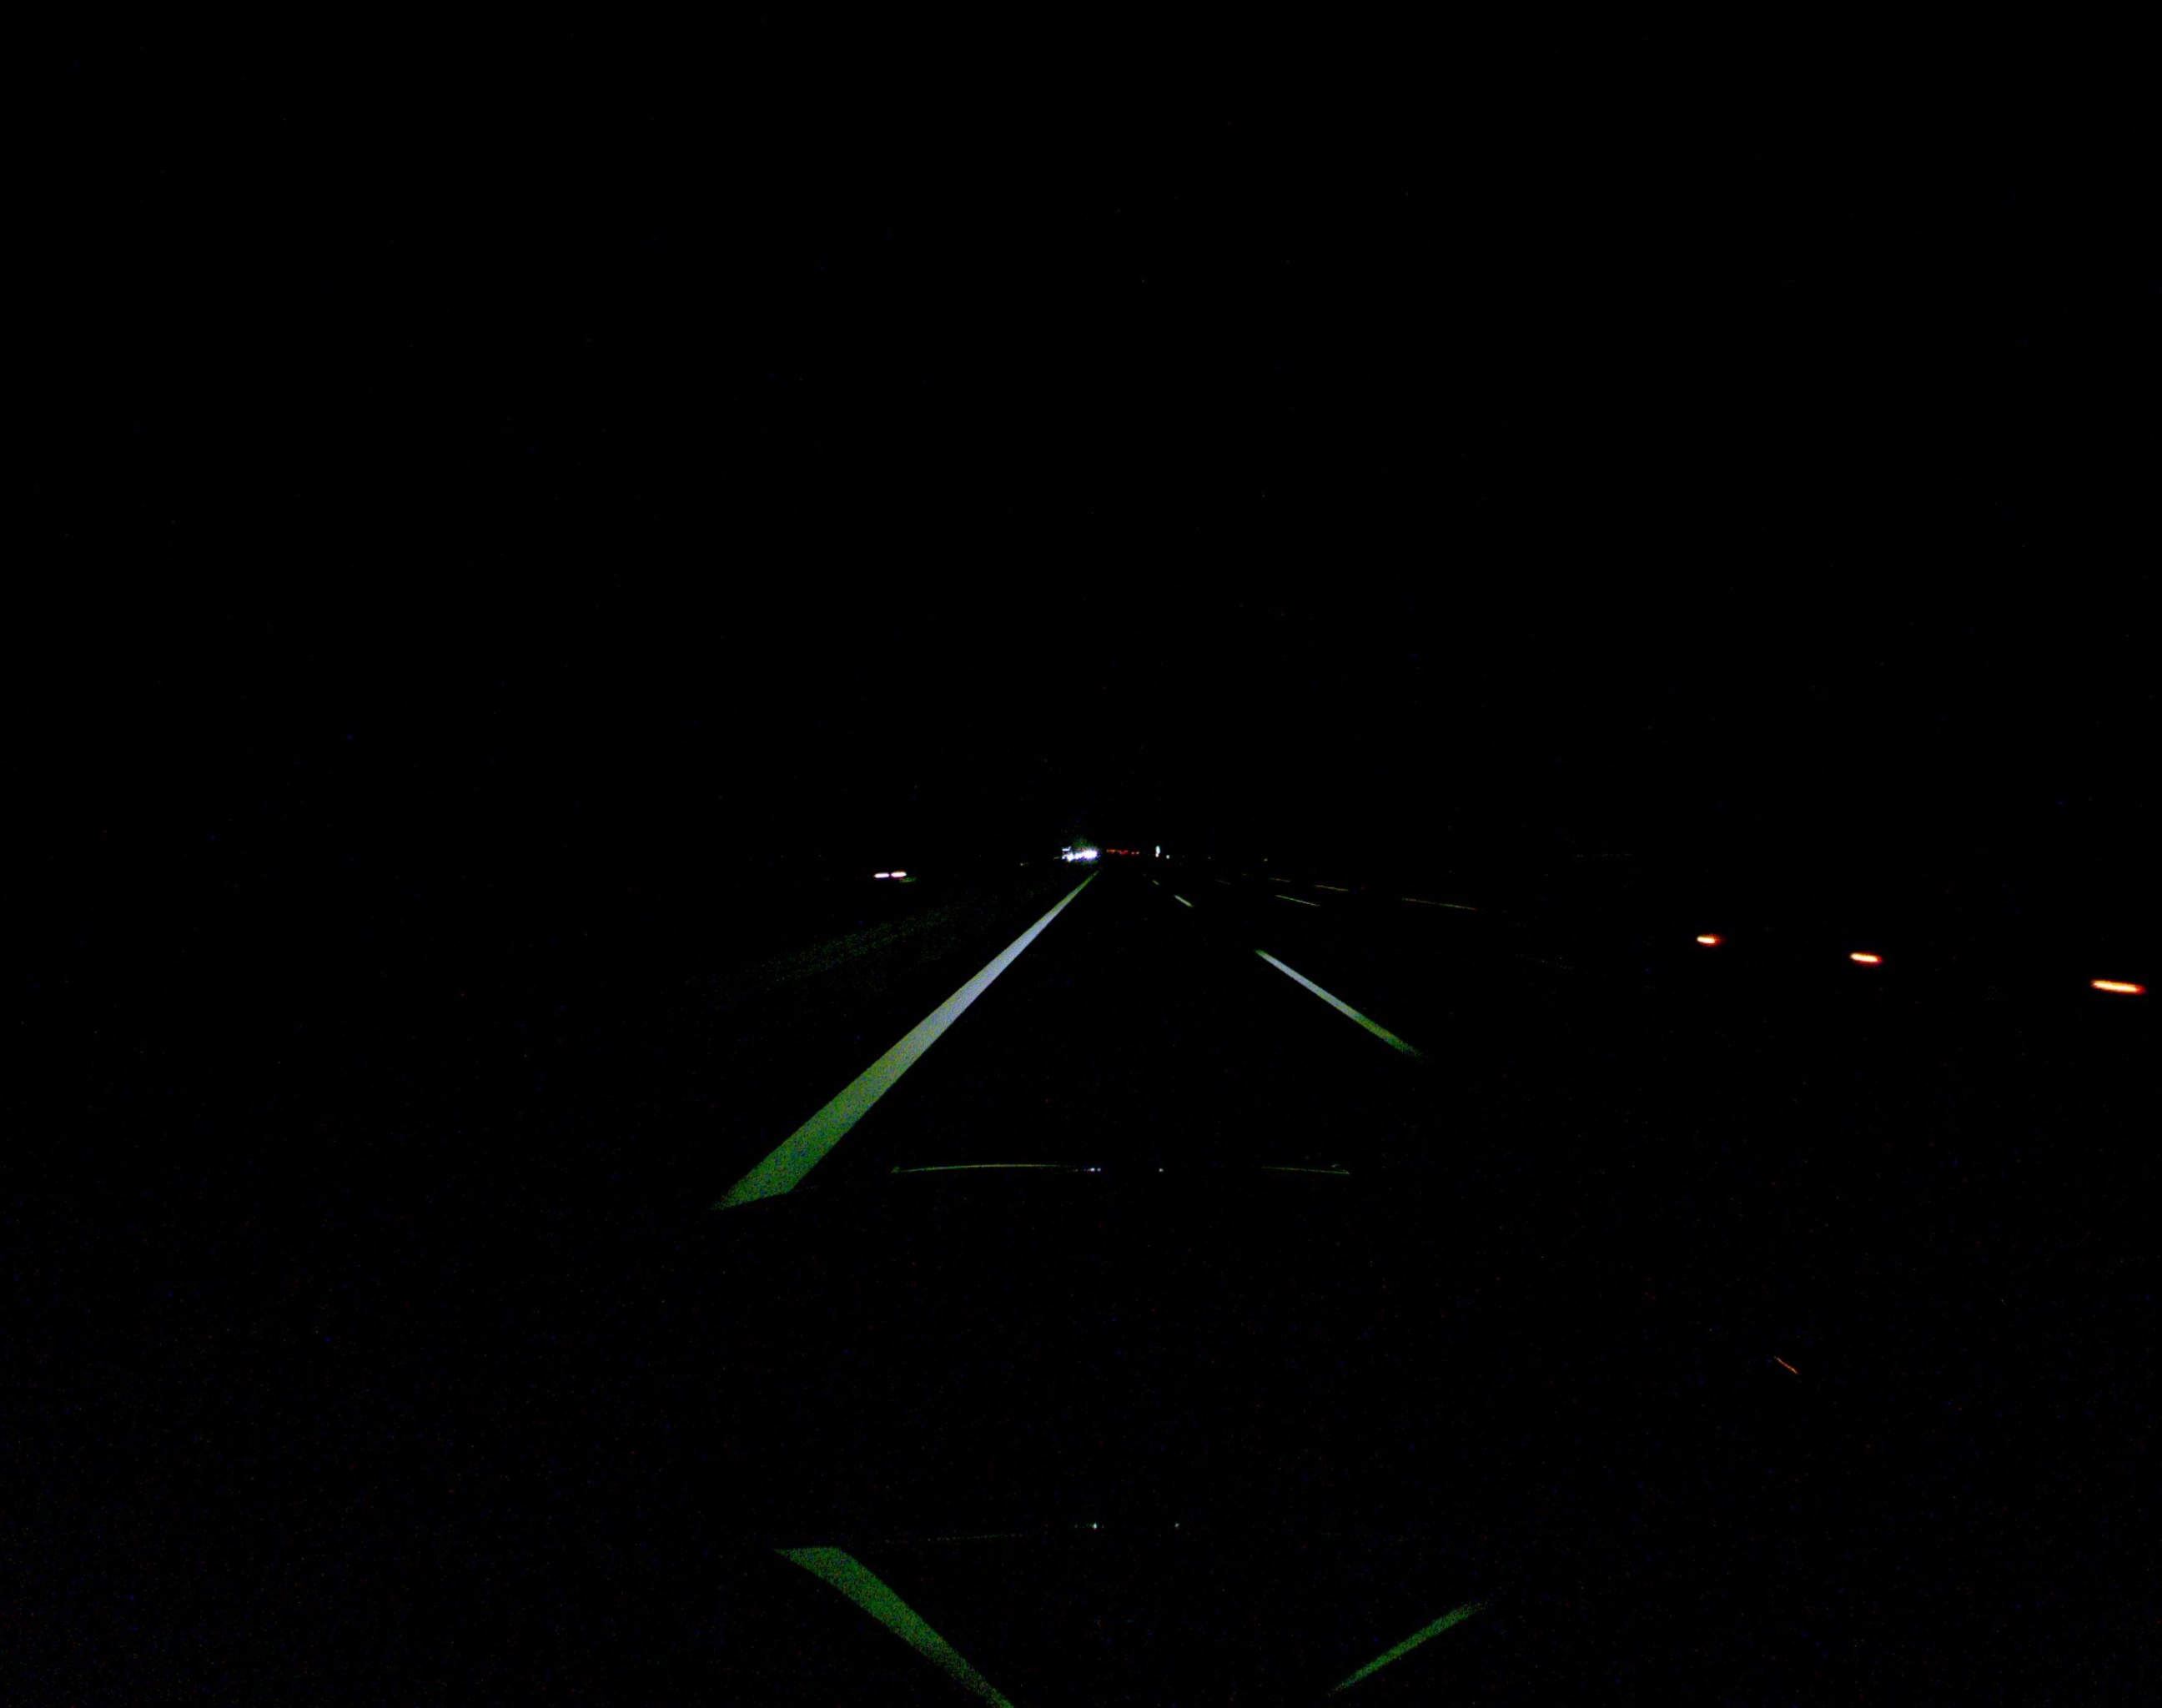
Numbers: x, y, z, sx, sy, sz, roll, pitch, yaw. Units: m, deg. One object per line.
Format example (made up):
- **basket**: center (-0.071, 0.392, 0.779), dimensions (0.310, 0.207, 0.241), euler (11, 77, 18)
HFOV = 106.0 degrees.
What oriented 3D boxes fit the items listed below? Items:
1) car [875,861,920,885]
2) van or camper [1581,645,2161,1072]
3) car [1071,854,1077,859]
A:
- **car**: center (-13.753, 1.416, 61.353), dimensions (1.986, 1.551, 5.007), euler (-4, 0, 2)
- **van or camper**: center (8.172, 0.009, 8.206), dimensions (2.199, 2.771, 6.805), euler (0, 0, 1)
- **car**: center (-2.159, 0.915, 255.983), dimensions (1.987, 1.461, 4.691), euler (-3, 0, 0)
